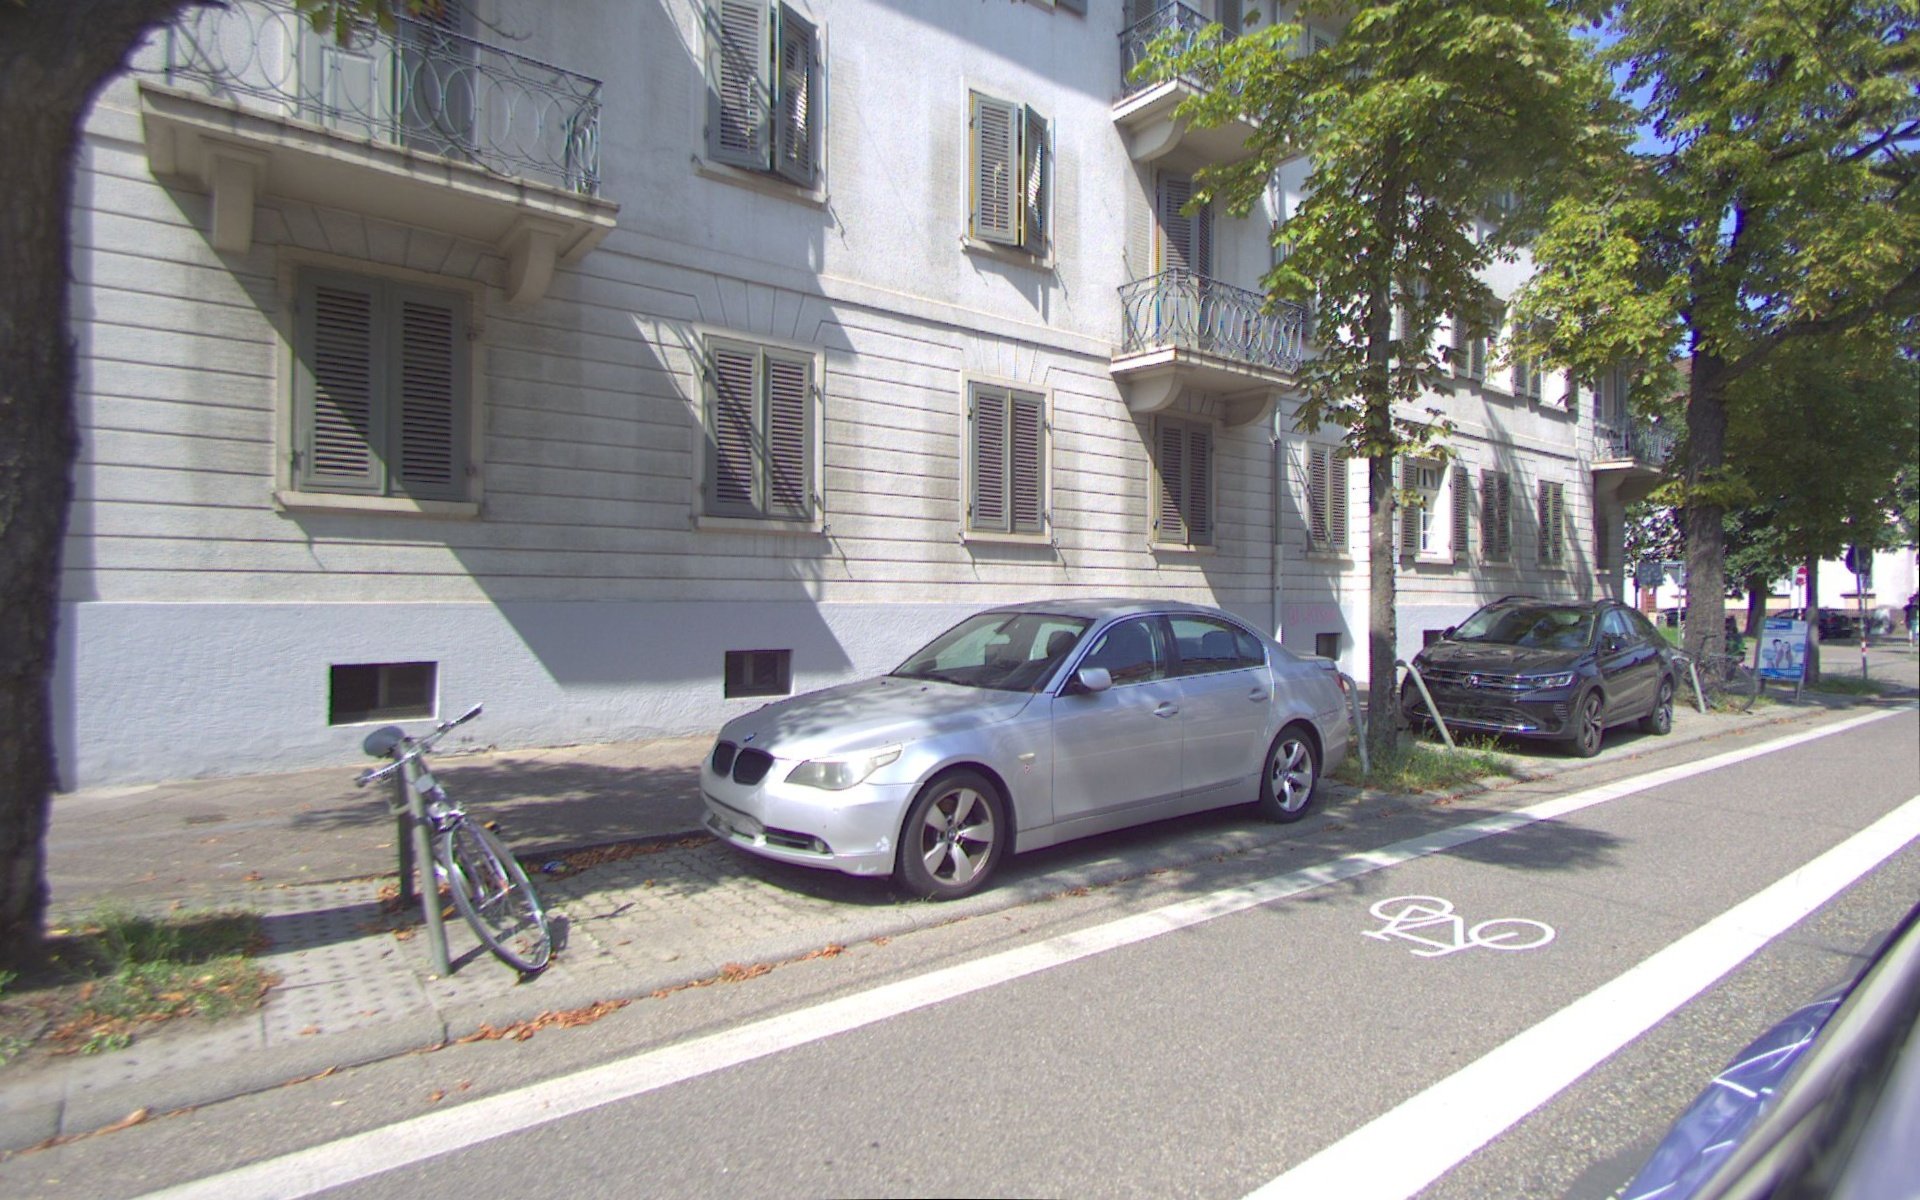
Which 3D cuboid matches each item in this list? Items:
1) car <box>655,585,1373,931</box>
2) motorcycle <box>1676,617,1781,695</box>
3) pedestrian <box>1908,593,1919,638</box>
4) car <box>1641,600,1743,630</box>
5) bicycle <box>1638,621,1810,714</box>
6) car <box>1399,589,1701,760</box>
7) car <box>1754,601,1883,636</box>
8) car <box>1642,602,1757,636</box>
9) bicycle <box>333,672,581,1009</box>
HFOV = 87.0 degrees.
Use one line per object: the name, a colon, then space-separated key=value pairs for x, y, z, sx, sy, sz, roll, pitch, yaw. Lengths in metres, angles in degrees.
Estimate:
car: x=0.637 y=0.659 z=6.506 sx=4.667 sy=1.469 sz=1.786 roll=0 pitch=1 yaw=-40
motorcycle: x=12.428 y=0.858 z=16.332 sx=2.453 sy=1.125 sz=0.828 roll=0 pitch=0 yaw=-40
pedestrian: x=39.044 y=0.630 z=41.052 sx=0.620 sy=1.808 sz=0.749 roll=0 pitch=-1 yaw=-37
car: x=37.287 y=0.743 z=51.684 sx=1.934 sy=1.457 sz=4.007 roll=0 pitch=0 yaw=-10
bicycle: x=10.301 y=0.871 z=13.700 sx=0.644 sy=1.137 sz=1.759 roll=0 pitch=0 yaw=-37
car: x=6.646 y=0.661 z=11.187 sx=4.359 sy=1.526 sz=1.665 roll=0 pitch=1 yaw=-42
car: x=38.480 y=0.789 z=45.498 sx=1.934 sy=1.461 sz=4.008 roll=0 pitch=0 yaw=-15
car: x=33.015 y=0.803 z=45.325 sx=1.799 sy=1.448 sz=4.007 roll=0 pitch=0 yaw=-11
bicycle: x=-2.234 y=0.866 z=4.347 sx=0.707 sy=0.964 sz=1.929 roll=0 pitch=0 yaw=-34
